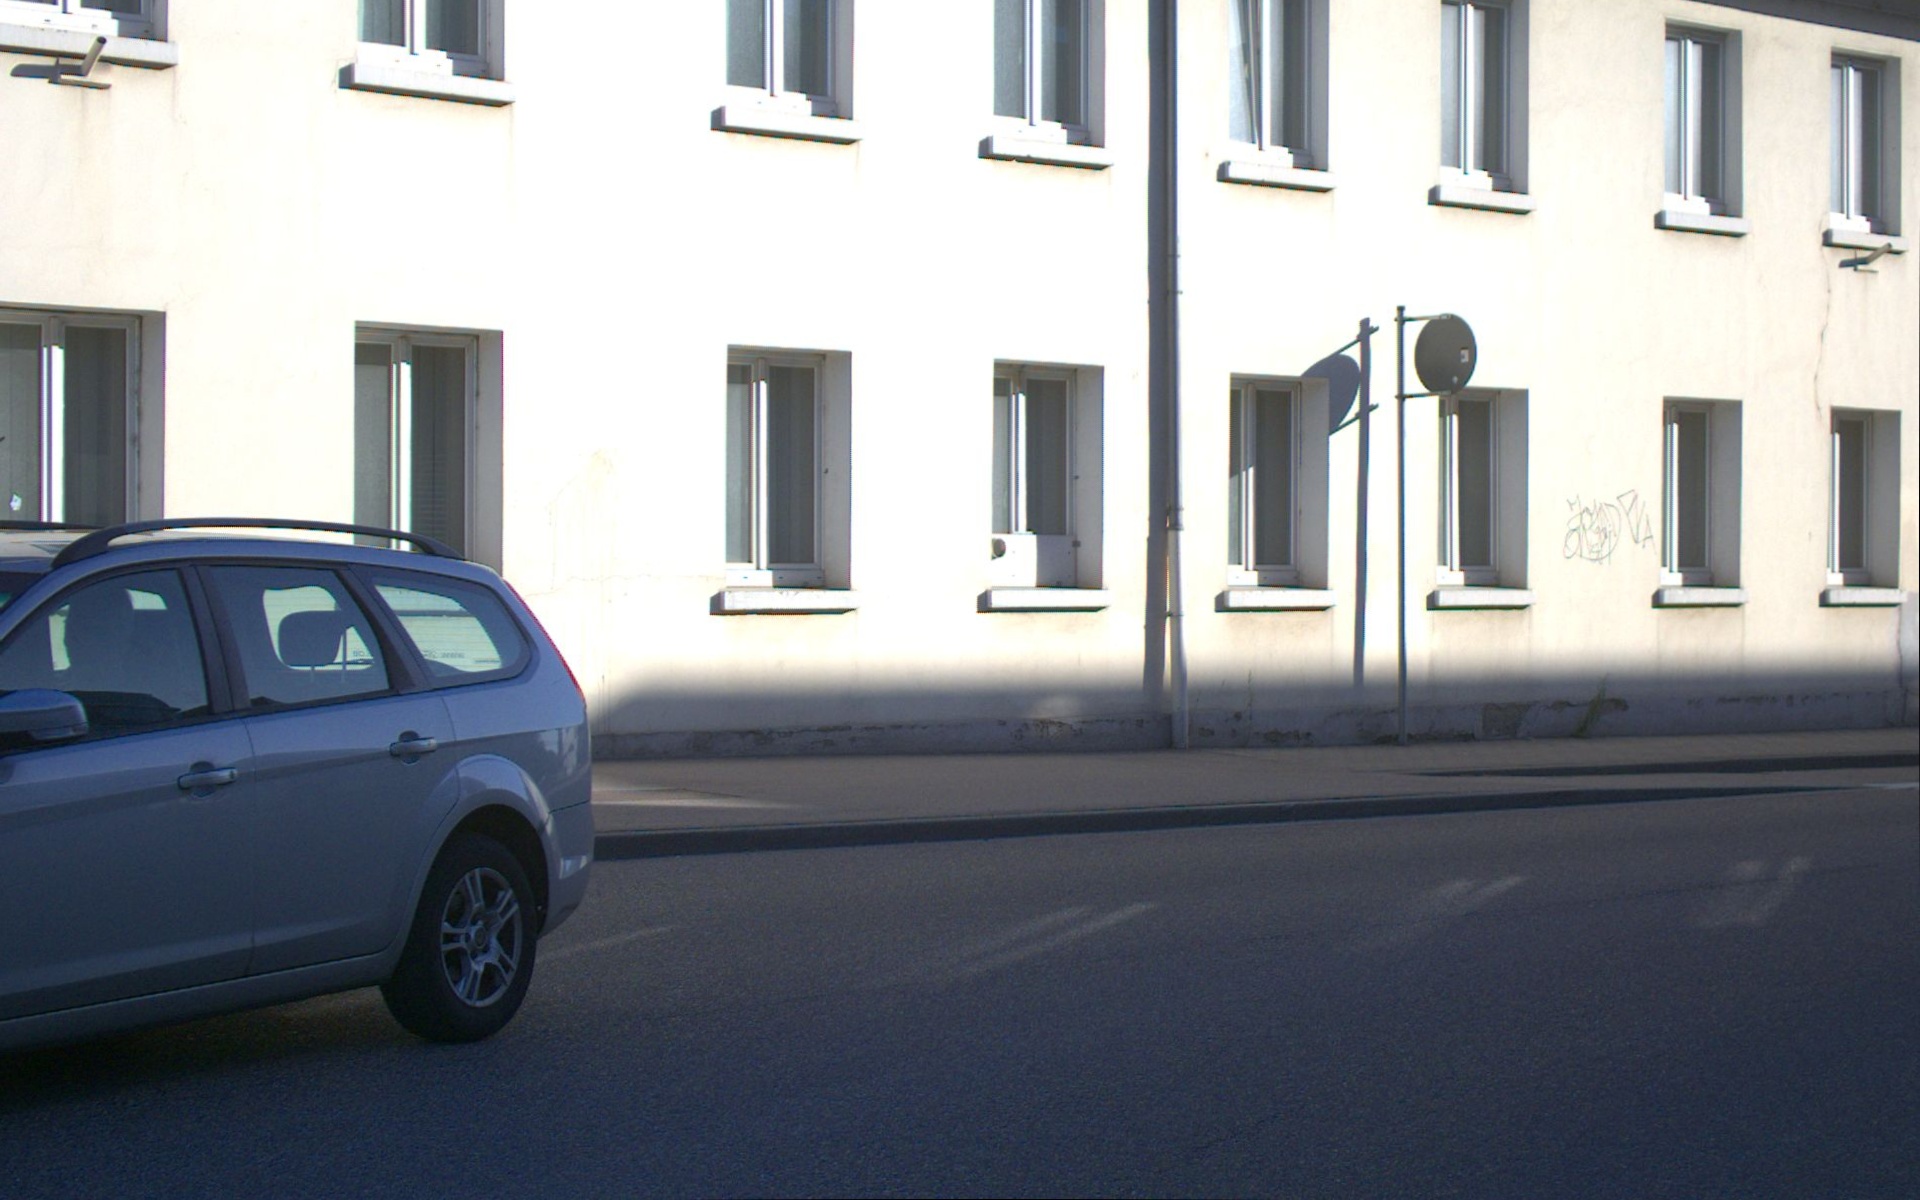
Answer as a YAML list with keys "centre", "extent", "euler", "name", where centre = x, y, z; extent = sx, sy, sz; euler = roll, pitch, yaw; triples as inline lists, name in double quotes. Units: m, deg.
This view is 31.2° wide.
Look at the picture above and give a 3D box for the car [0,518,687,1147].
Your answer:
- centre: [-2.727, 0.541, 9.469]
  extent: [1.742, 1.500, 4.495]
  euler: [3, 2, 28]
  name: "car"
